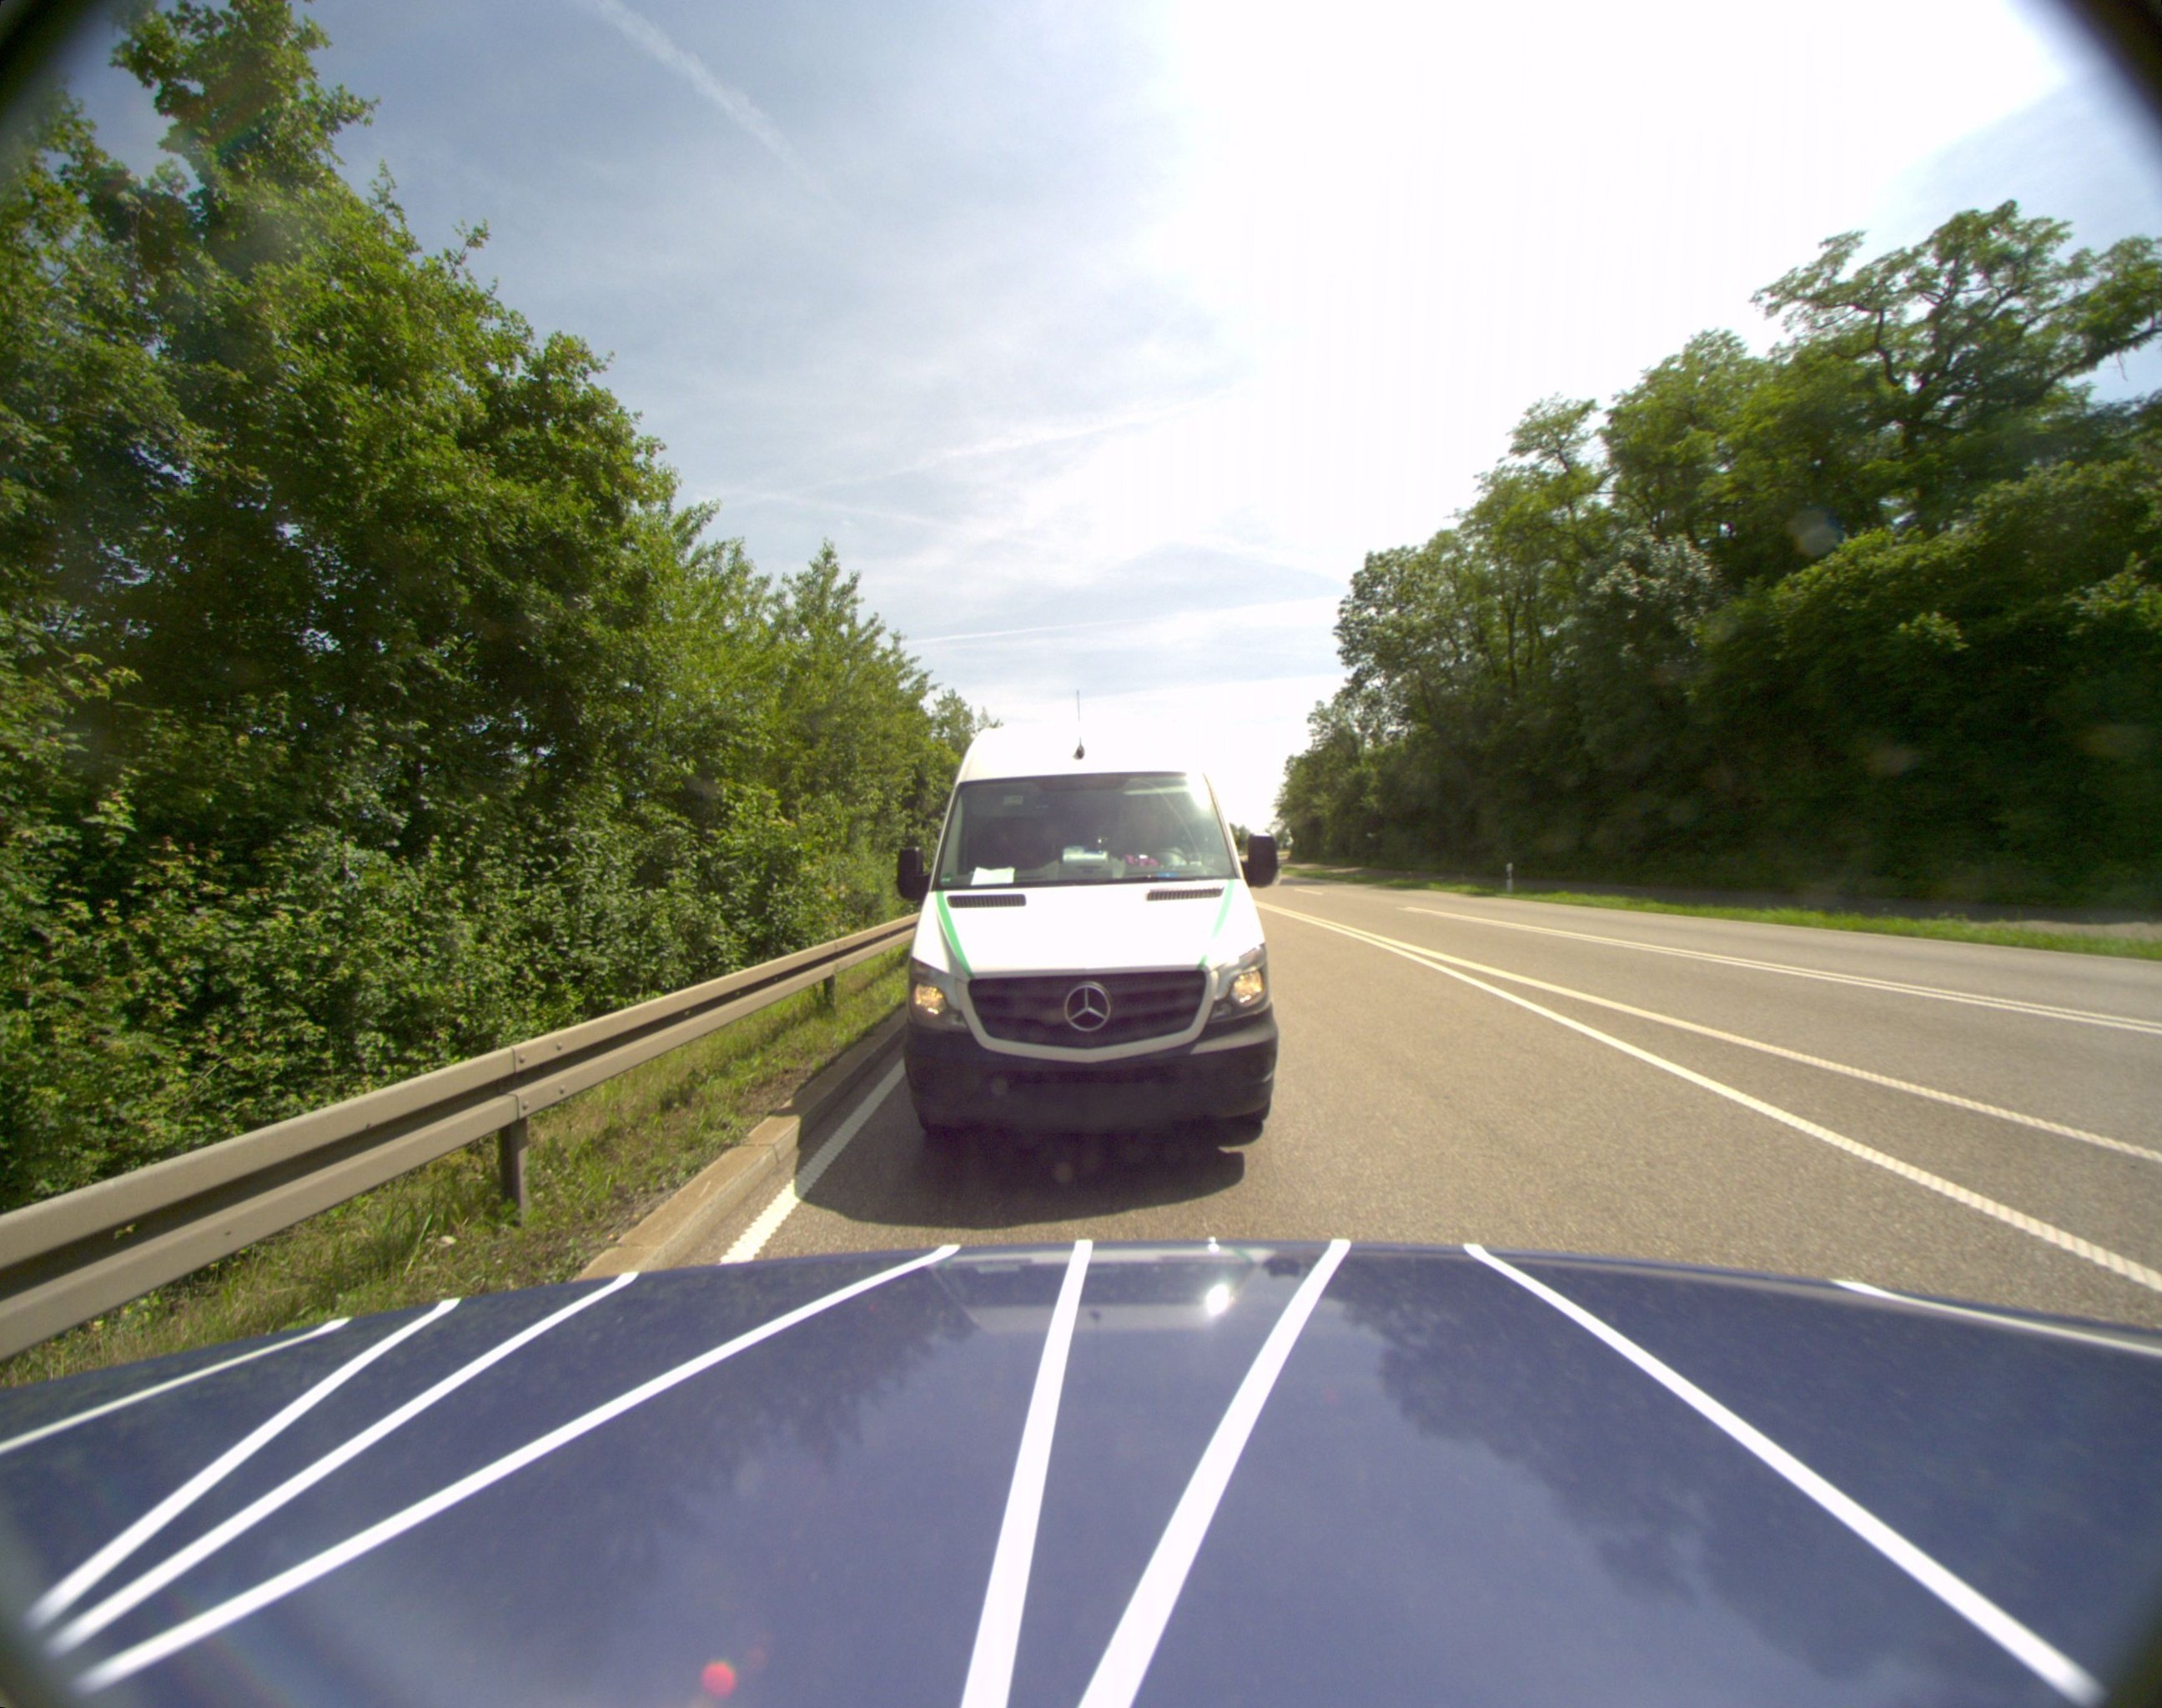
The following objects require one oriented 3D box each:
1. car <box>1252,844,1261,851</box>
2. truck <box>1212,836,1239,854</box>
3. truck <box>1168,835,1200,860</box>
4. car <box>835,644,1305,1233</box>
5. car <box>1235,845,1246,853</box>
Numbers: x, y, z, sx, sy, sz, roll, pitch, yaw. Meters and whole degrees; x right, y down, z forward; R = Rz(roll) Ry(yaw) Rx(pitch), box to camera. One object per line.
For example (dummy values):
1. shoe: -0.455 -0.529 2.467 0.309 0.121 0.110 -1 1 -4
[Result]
1. car: 52.381 -1.986 226.734 1.853 2.002 3.894 -2 1 24
2. truck: 36.511 -2.285 191.622 3.980 4.433 14.361 -2 0 21
3. truck: 20.095 -1.215 147.354 4.393 4.433 14.727 -2 0 15
4. car: 0.033 0.384 5.926 1.958 2.502 5.267 -2 0 2
5. car: 43.859 -1.281 209.140 1.915 2.002 4.182 -1 1 25
